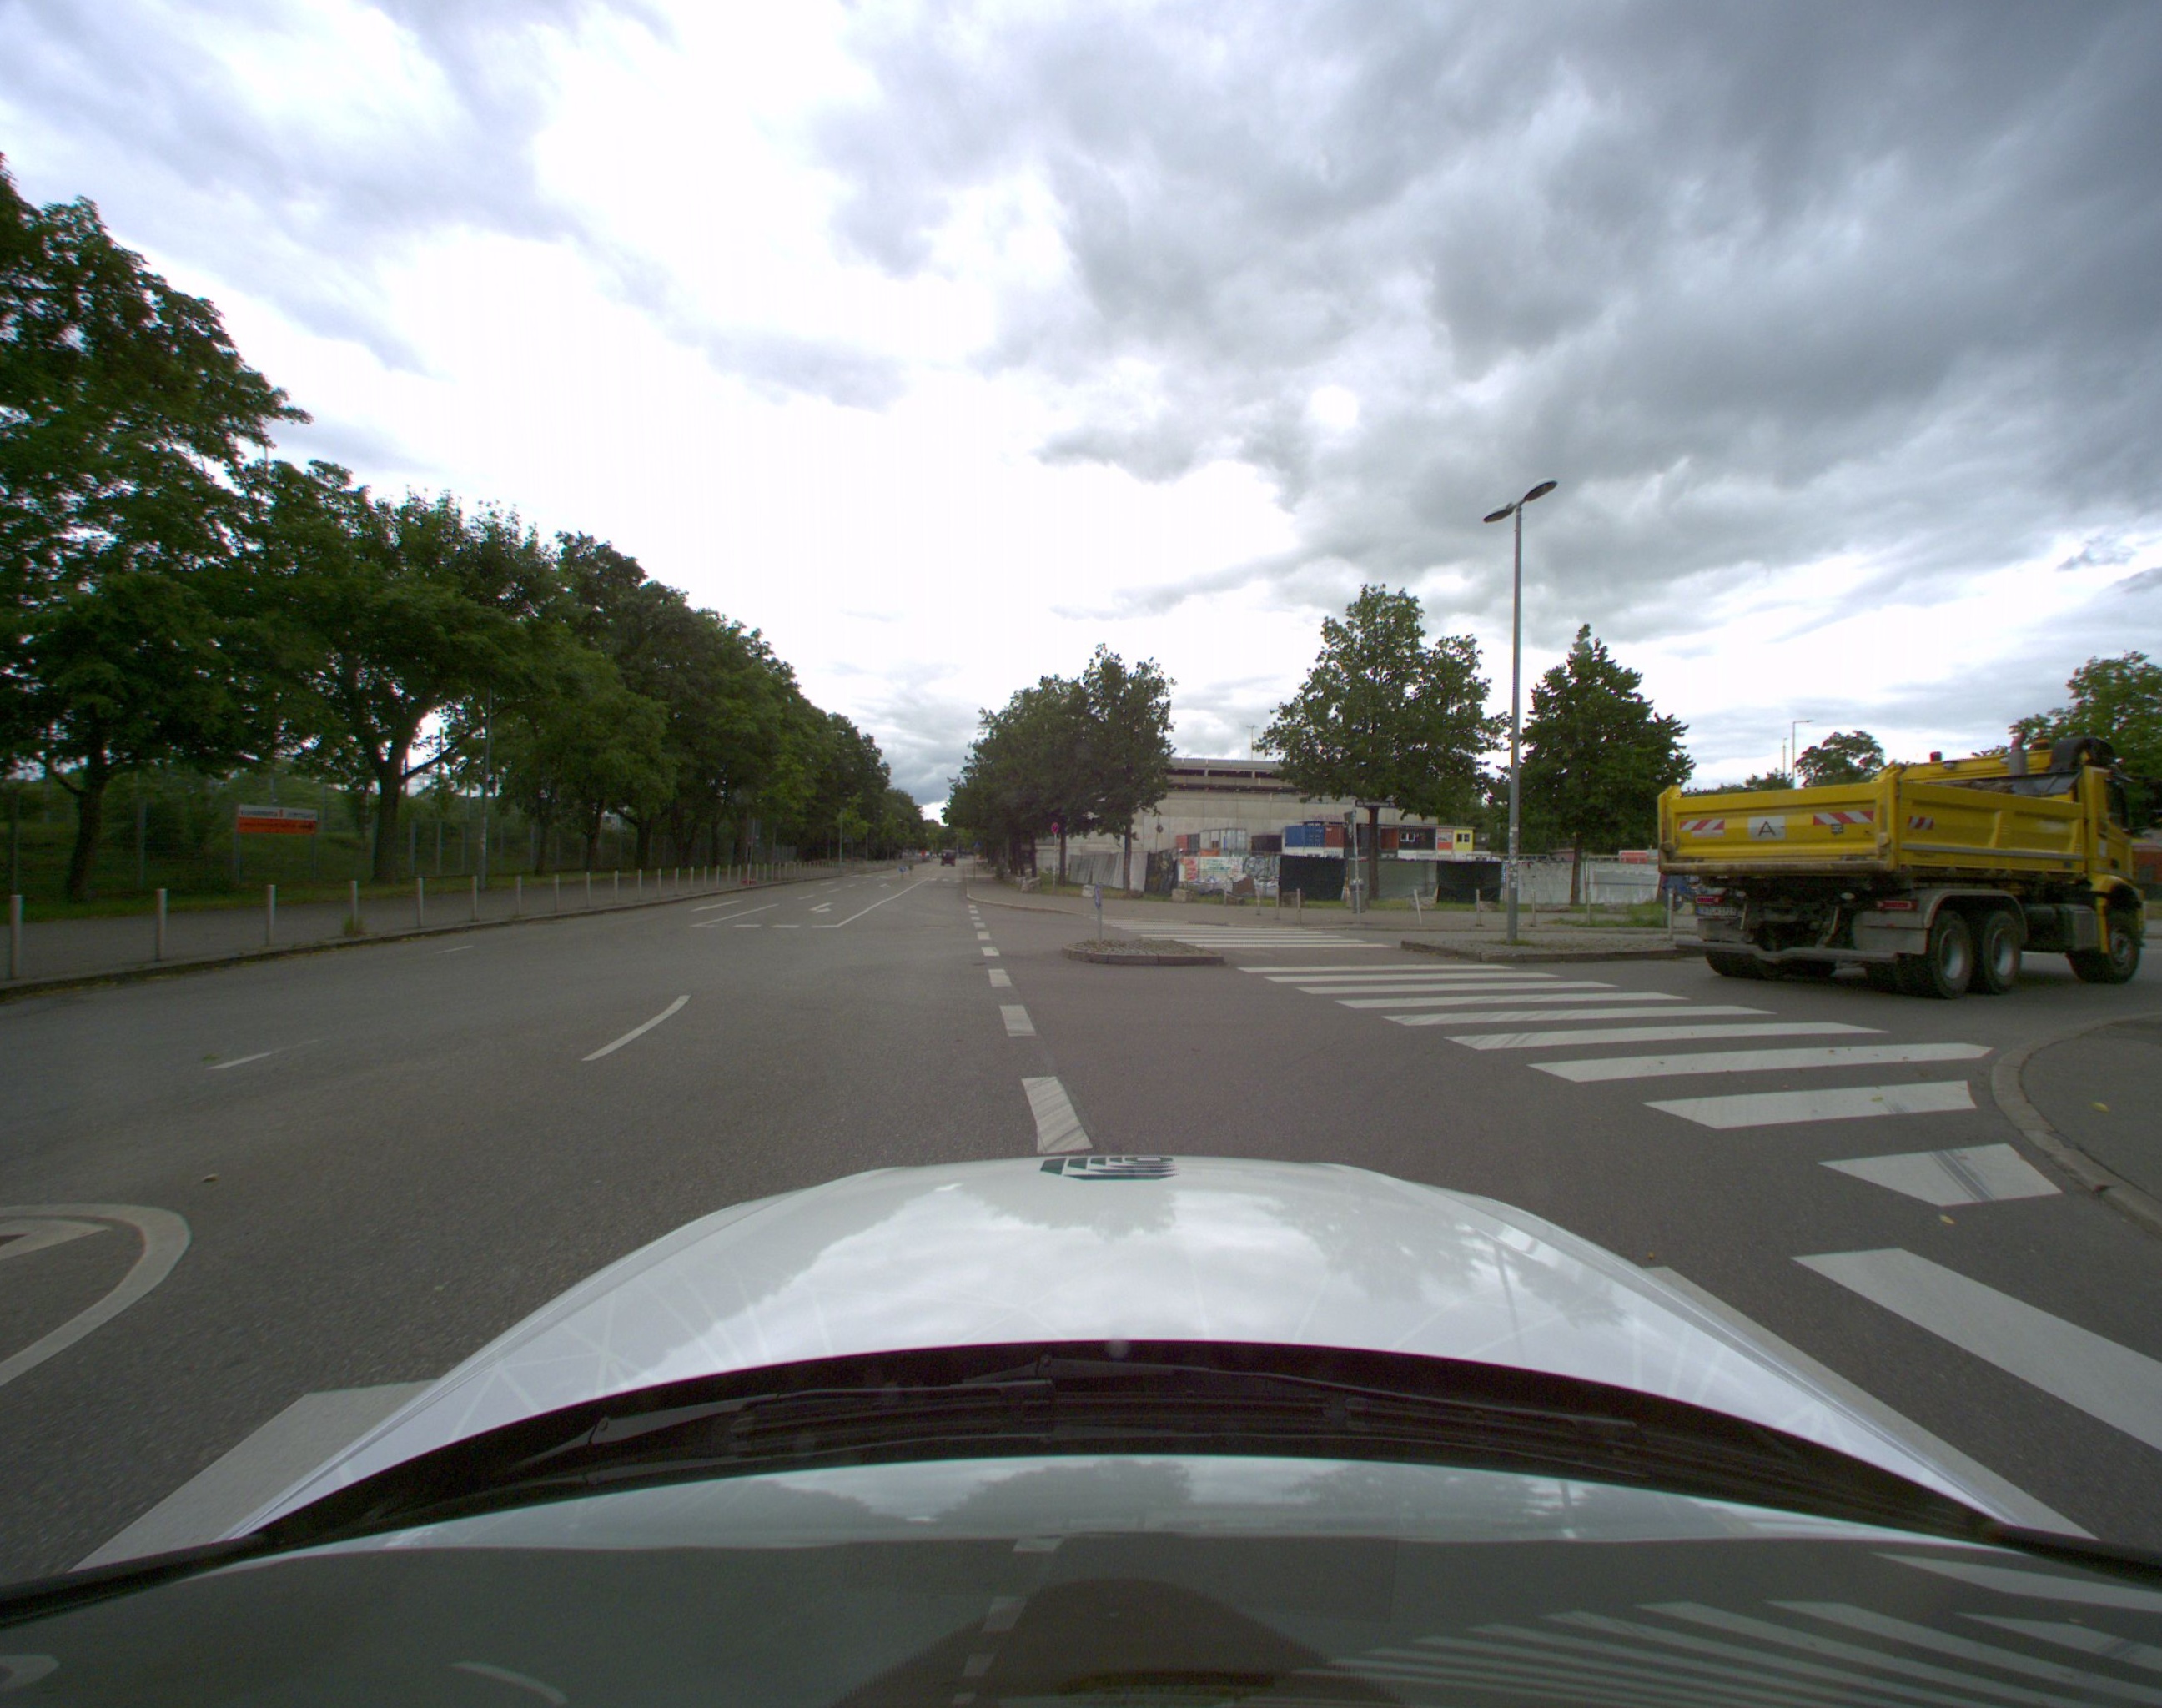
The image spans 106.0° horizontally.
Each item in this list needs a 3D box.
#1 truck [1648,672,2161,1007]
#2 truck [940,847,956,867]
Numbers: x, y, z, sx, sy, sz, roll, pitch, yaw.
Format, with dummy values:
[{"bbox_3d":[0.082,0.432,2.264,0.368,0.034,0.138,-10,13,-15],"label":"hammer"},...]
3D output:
[{"bbox_3d":[12.158,-0.131,11.883,7.890,3.698,2.745,1,0,-24],"label":"truck"},{"bbox_3d":[-24.137,0.592,148.224,2.672,3.558,7.898,-2,-1,-9],"label":"truck"}]
